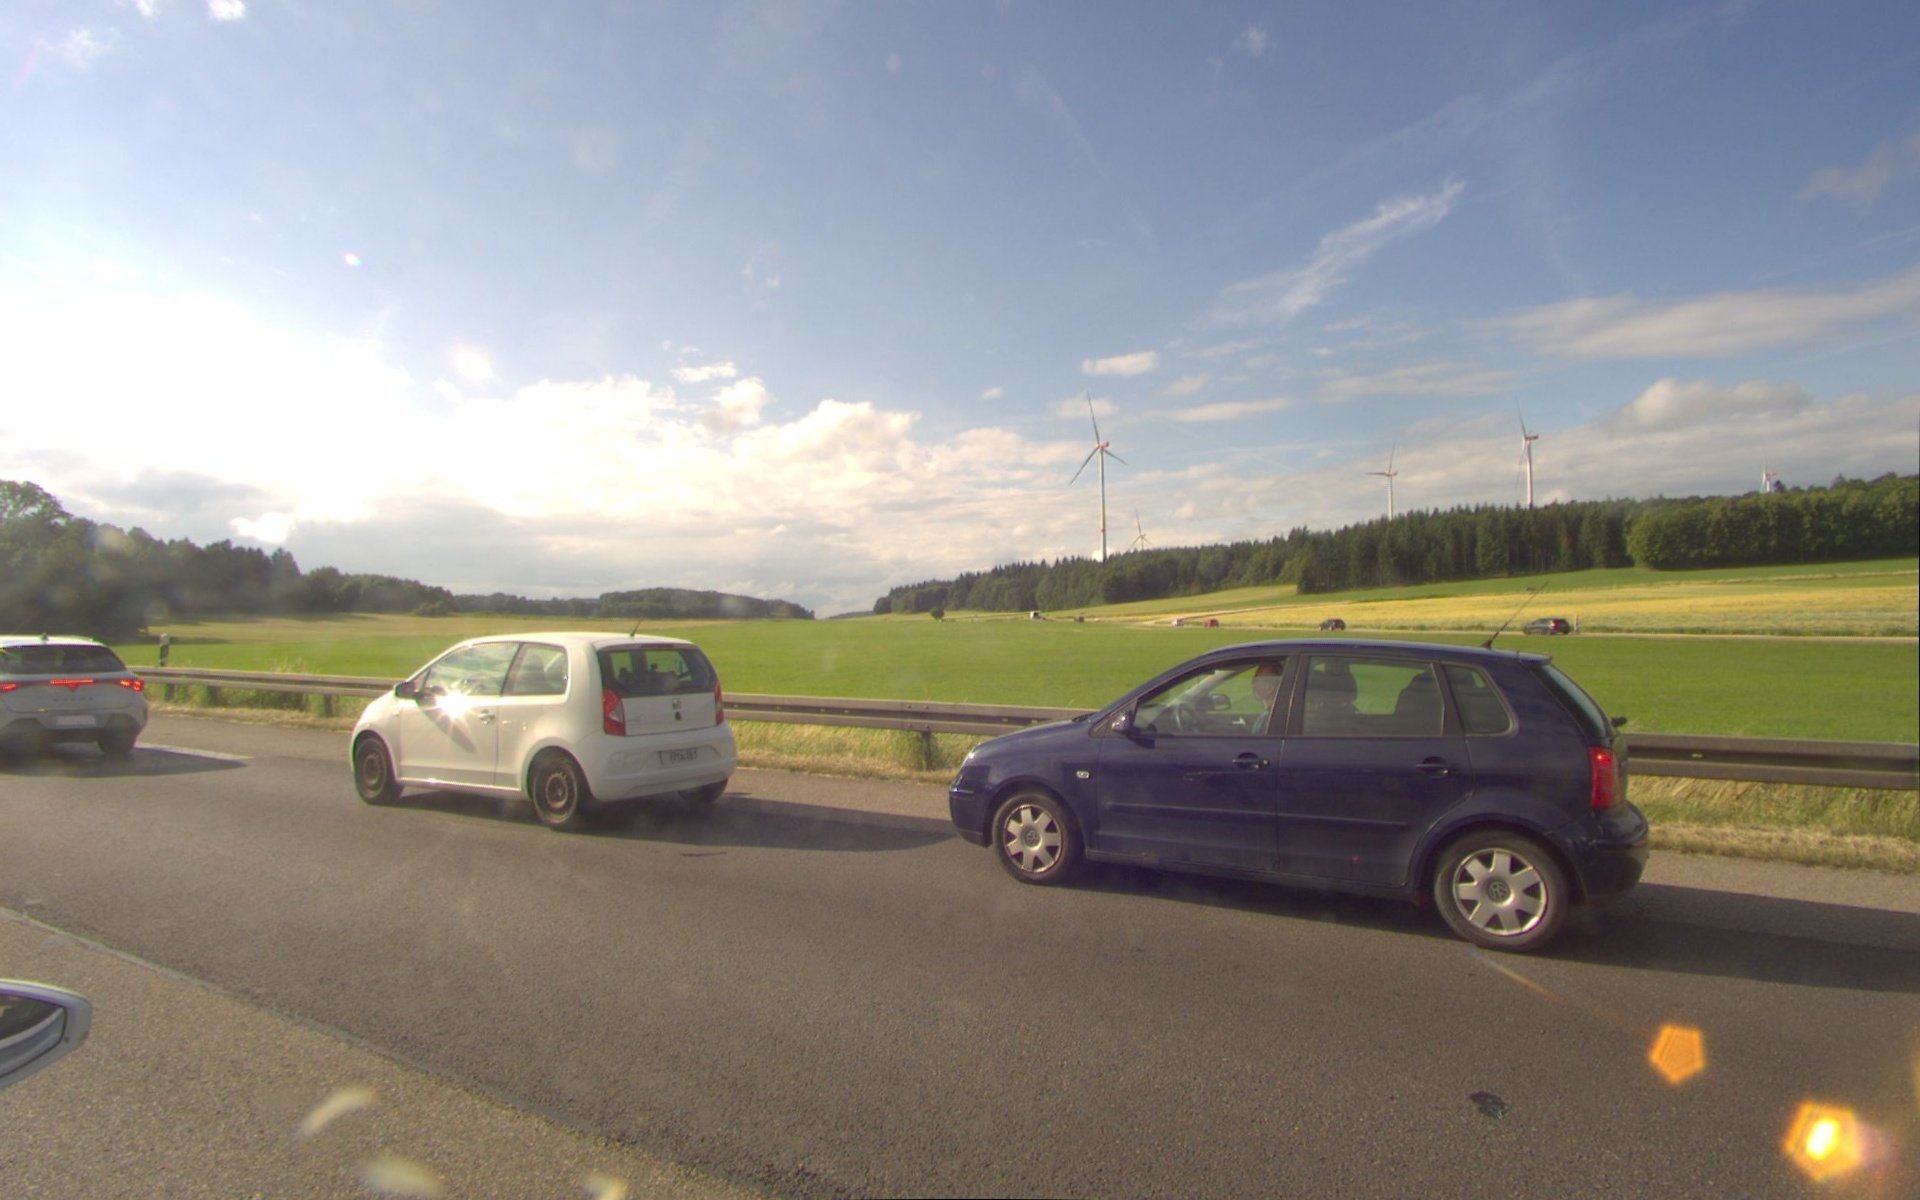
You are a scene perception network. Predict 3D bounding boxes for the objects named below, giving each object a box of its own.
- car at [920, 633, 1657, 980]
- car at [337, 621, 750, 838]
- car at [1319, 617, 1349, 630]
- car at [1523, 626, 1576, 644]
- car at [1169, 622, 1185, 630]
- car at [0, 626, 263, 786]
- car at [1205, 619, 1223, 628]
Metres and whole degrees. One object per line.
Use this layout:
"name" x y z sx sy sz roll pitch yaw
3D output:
"car" 1.774 0.935 5.934 3.719 1.464 1.708 -1 -2 31
"car" -3.590 0.950 8.570 3.326 1.514 1.547 0 -1 29
"car" 46.610 2.948 124.912 1.803 1.505 4.221 0 -2 -6
"car" 51.034 3.001 86.780 1.803 1.505 4.221 0 -2 -6
"car" 42.961 5.189 198.420 1.803 1.505 4.288 0 -2 -6
"car" -9.561 1.037 10.915 4.084 1.464 1.619 -1 -2 29
"car" 44.242 4.115 174.536 1.803 1.505 4.221 0 -2 -6
